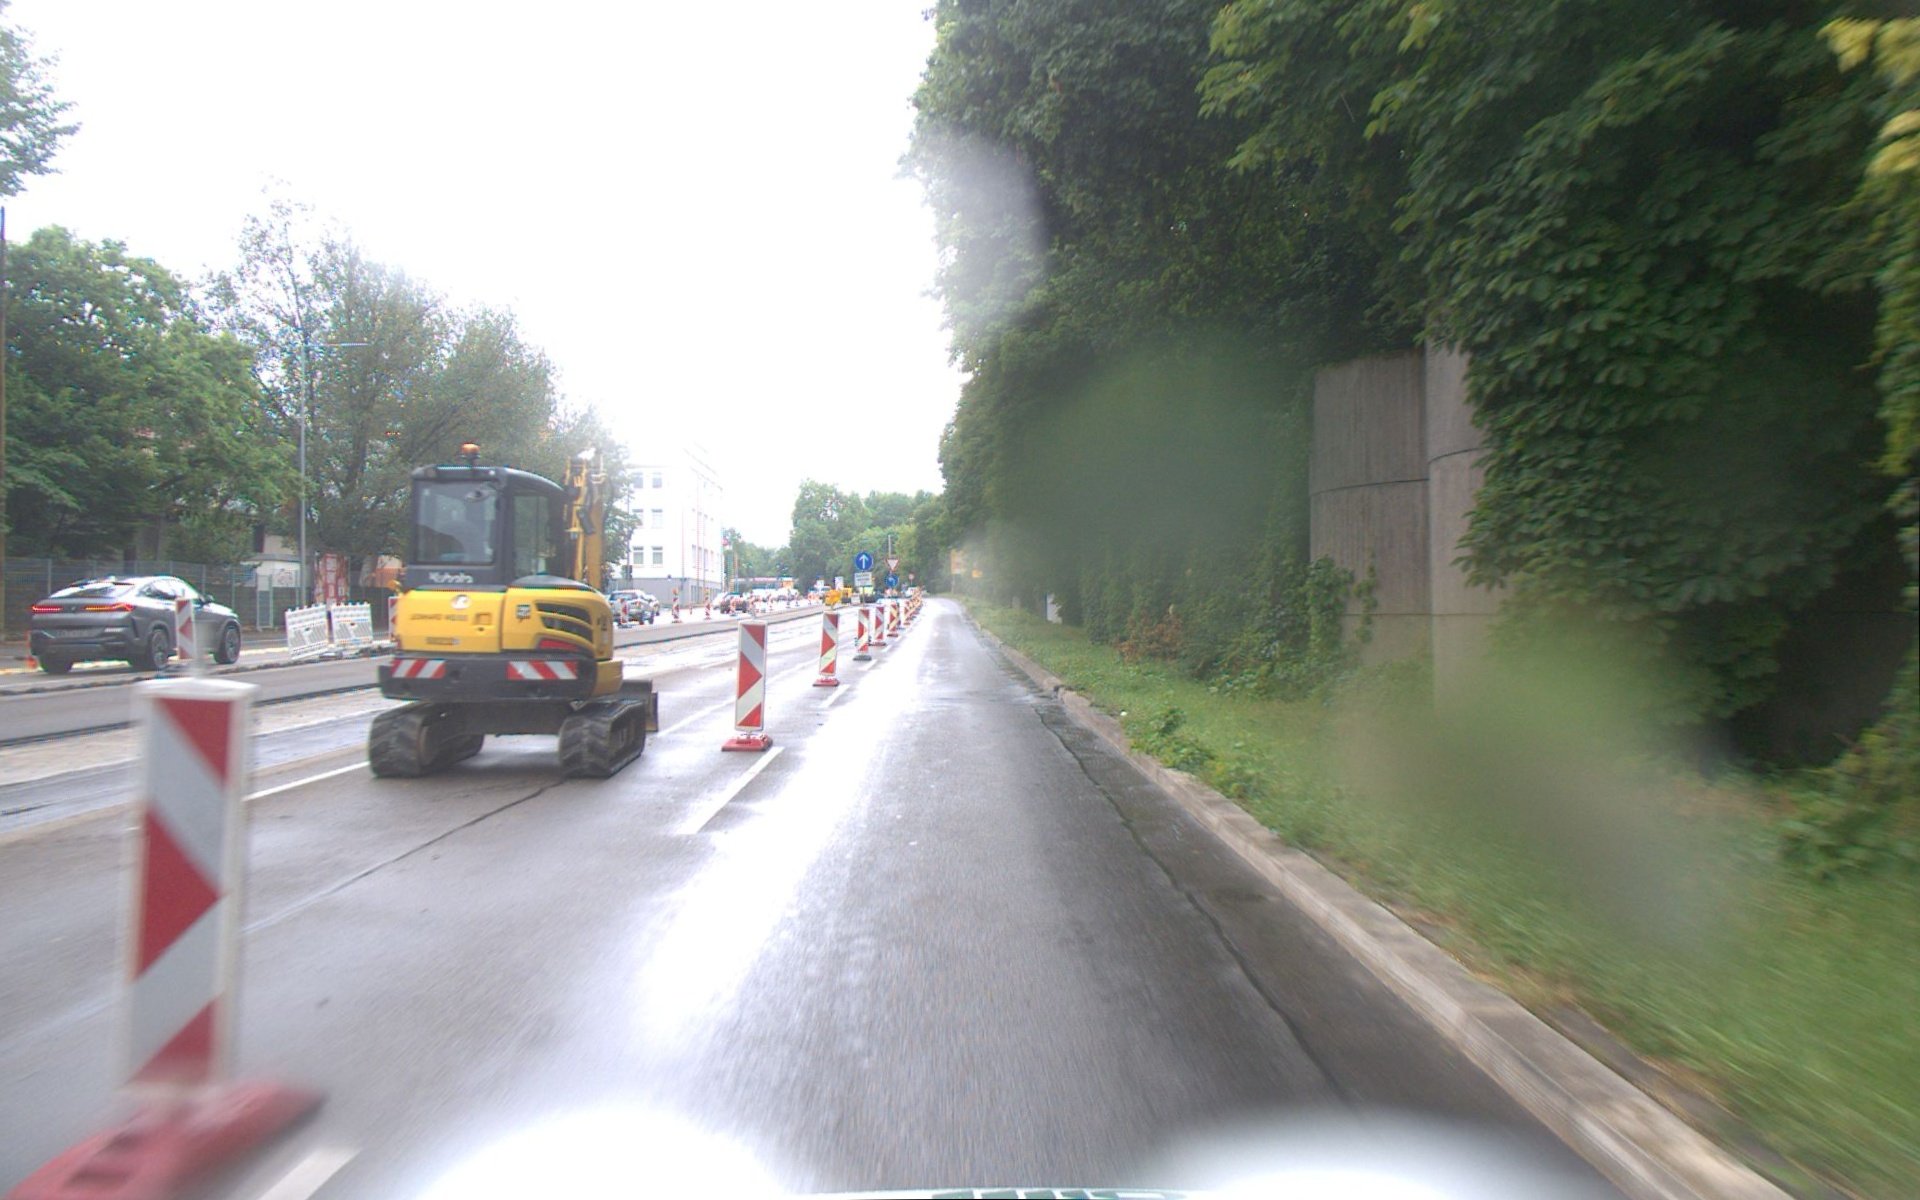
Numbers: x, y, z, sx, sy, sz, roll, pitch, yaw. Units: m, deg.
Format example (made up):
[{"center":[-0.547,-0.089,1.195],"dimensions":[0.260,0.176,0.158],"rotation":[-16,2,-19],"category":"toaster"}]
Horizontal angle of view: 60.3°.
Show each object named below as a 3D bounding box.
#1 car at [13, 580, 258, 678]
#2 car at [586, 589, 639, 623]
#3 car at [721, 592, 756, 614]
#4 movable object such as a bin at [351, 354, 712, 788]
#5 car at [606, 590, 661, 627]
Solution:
[{"center":[-14.983,0.504,30.443],"dimensions":[2.034,1.641,5.055],"rotation":[1,0,-1],"category":"car"},{"center":[-18.740,0.336,89.330],"dimensions":[1.953,1.797,4.278],"rotation":[1,0,0],"category":"car"},{"center":[-15.732,0.232,117.586],"dimensions":[1.953,1.545,3.999],"rotation":[1,0,-1],"category":"car"},{"center":[-3.848,-0.218,16.126],"dimensions":[1.953,3.426,5.981],"rotation":[1,0,0],"category":"movable object such as a bin"},{"center":[-15.324,0.412,77.816],"dimensions":[1.817,1.677,3.999],"rotation":[1,0,-1],"category":"car"}]
